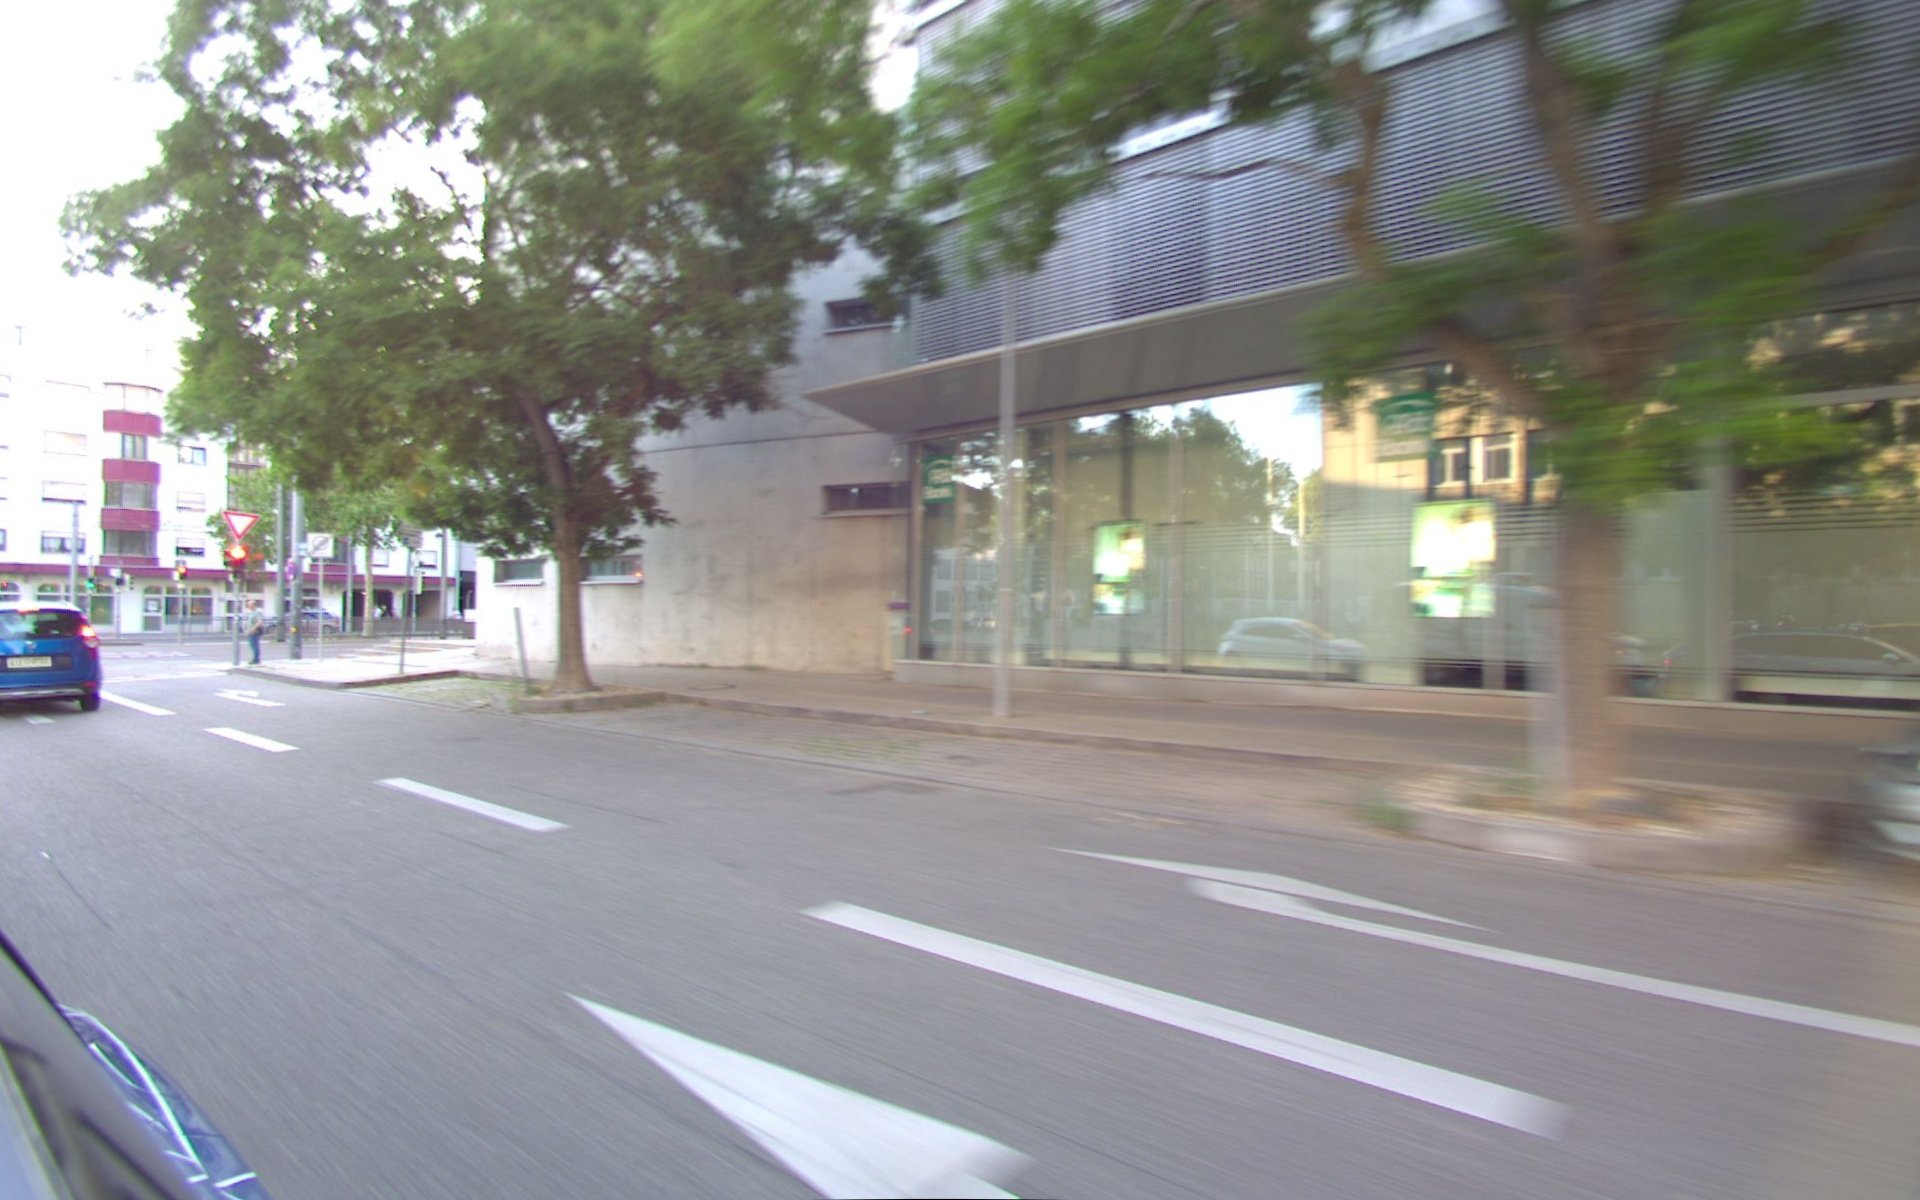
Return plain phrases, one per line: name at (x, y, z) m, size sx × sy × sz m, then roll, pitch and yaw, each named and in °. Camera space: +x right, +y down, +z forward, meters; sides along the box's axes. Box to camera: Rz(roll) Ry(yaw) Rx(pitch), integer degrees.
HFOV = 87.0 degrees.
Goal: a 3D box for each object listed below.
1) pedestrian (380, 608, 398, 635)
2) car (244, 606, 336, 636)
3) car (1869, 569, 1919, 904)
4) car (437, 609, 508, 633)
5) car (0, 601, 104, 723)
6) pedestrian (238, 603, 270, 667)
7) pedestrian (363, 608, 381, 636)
pedestrian at (-38.252, 1.437, 67.784) m, size 0.692 × 1.820 × 0.824 m, roll -1°, pitch -2°, yaw 43°
car at (-38.164, 1.204, 57.705) m, size 1.665 × 1.608 × 4.046 m, roll -1°, pitch -2°, yaw 41°
car at (6.471, 0.559, 3.698) m, size 4.625 × 1.472 × 1.686 m, roll -1°, pitch 1°, yaw 41°
car at (-33.009, 1.446, 68.618) m, size 1.665 × 1.608 × 4.046 m, roll -1°, pitch -2°, yaw 41°
car at (-14.766, 0.886, 15.696) m, size 4.272 × 1.691 × 1.729 m, roll -1°, pitch -1°, yaw 42°
pedestrian at (-19.295, 0.947, 27.672) m, size 0.537 × 1.714 × 0.710 m, roll 1°, pitch -1°, yaw -21°
pedestrian at (-38.656, 1.417, 66.552) m, size 0.692 × 1.820 × 0.824 m, roll -1°, pitch -2°, yaw 43°
